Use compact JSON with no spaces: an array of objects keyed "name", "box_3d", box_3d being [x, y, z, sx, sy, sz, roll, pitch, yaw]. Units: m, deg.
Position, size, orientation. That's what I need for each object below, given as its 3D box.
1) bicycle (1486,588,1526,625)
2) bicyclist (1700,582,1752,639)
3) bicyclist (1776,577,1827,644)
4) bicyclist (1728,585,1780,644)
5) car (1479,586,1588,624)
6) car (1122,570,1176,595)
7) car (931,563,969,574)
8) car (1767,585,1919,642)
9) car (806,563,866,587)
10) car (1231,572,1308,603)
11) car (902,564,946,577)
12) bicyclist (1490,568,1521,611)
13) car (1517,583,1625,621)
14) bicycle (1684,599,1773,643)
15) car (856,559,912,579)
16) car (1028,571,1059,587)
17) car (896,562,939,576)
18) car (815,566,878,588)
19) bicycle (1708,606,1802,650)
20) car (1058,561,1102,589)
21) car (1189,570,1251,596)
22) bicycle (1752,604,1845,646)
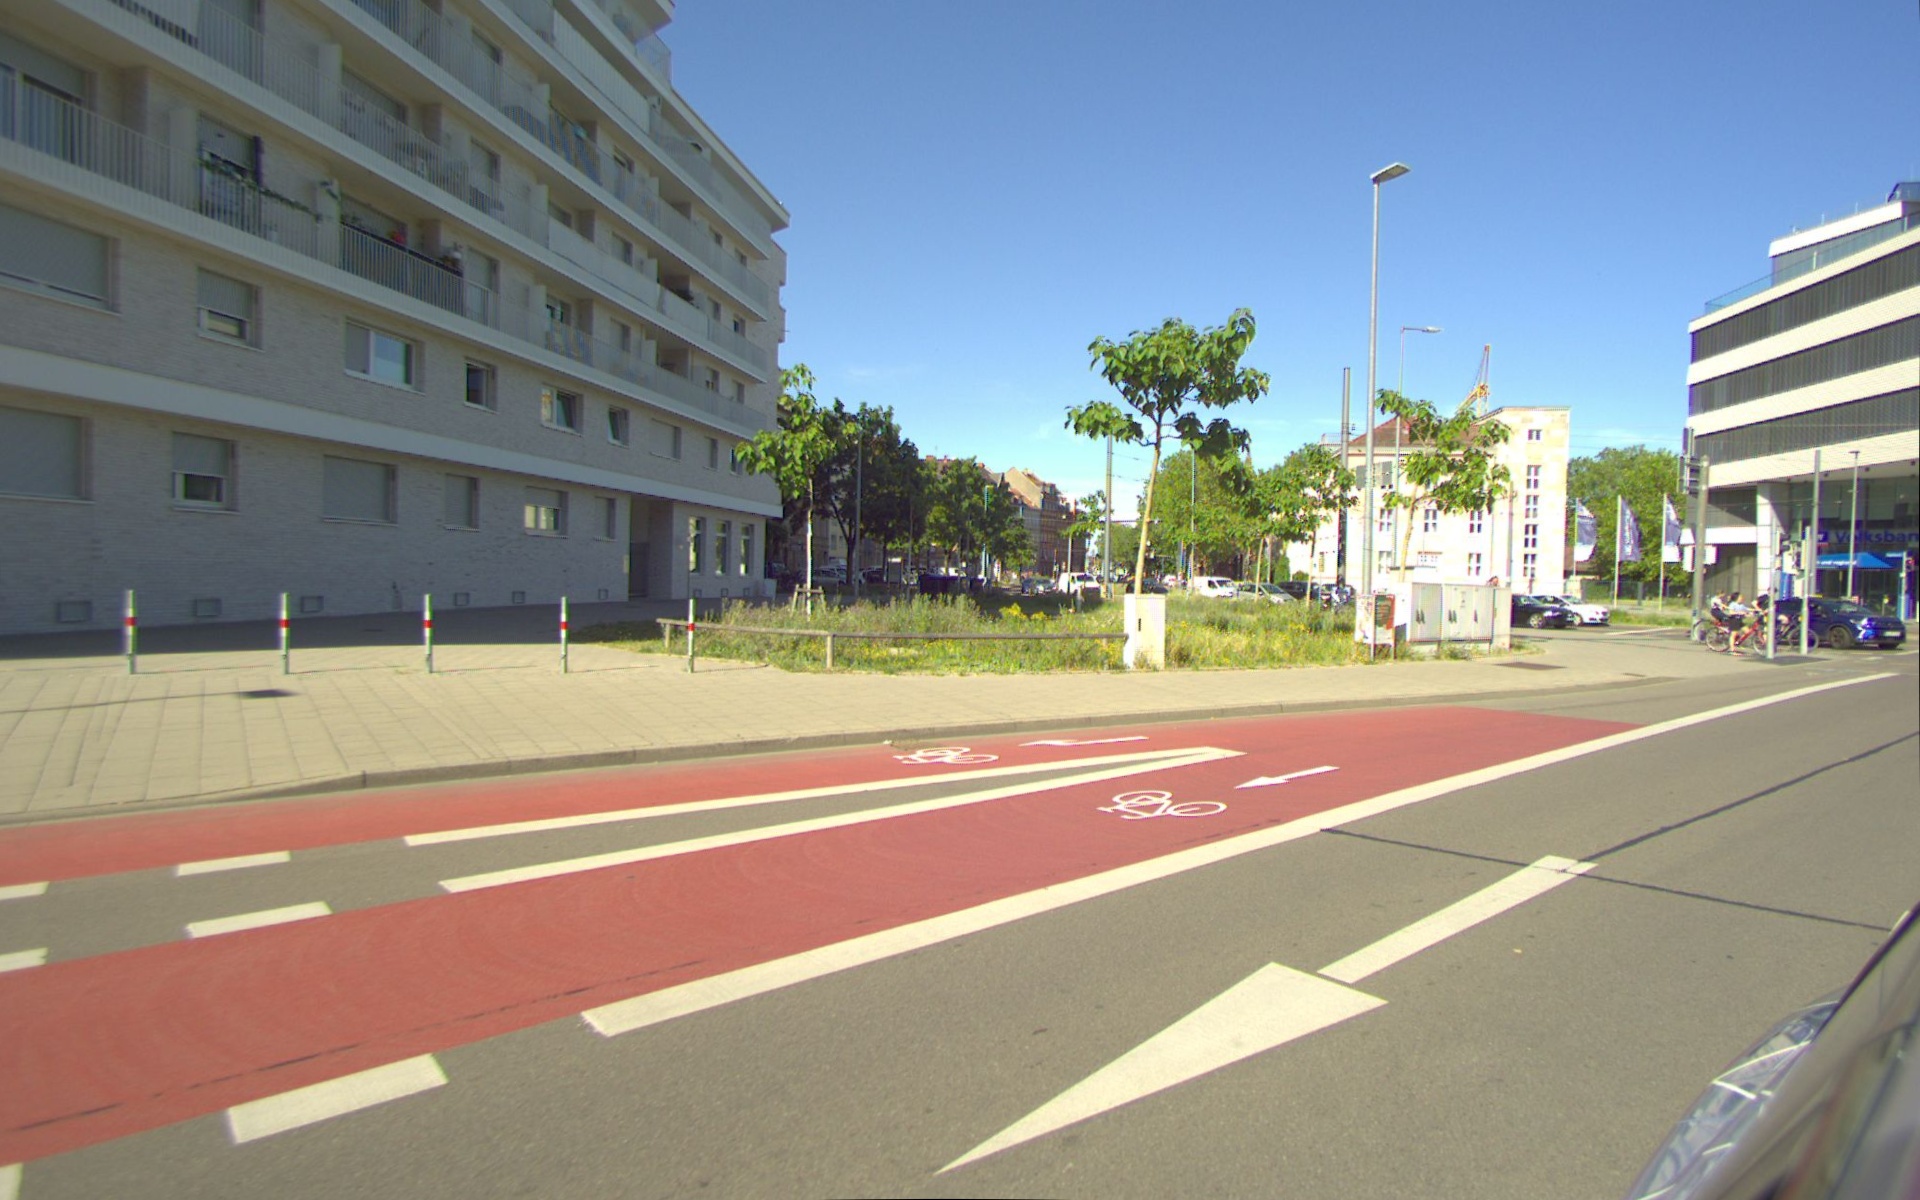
[{"name":"bicycle","box_3d":[18.347,0.197,34.065,0.687,1.118,2.002,4,2,16]},{"name":"bicyclist","box_3d":[23.692,0.308,31.300,0.583,1.674,1.006,2,3,-27]},{"name":"bicyclist","box_3d":[23.860,0.293,28.704,0.539,1.820,0.907,2,2,-34]},{"name":"bicyclist","box_3d":[20.265,0.364,25.841,0.578,1.421,0.829,2,2,-29]},{"name":"car","box_3d":[24.453,0.192,43.290,1.553,1.451,3.845,0,2,-26]},{"name":"car","box_3d":[12.564,-1.207,67.586,1.835,1.575,4.010,1,2,-18]},{"name":"car","box_3d":[-1.284,-4.008,128.115,4.310,1.225,2.004,0,2,-27]},{"name":"car","box_3d":[28.121,0.373,32.180,1.841,1.575,3.997,1,2,4]},{"name":"car","box_3d":[-9.058,-1.851,73.872,3.918,1.682,2.004,0,2,-27]},{"name":"car","box_3d":[17.294,-0.721,56.730,1.837,1.575,4.007,0,2,-28]},{"name":"car","box_3d":[-3.868,-3.183,108.094,4.308,1.249,2.005,1,2,-17]},{"name":"bicyclist","box_3d":[18.423,-0.361,34.193,0.687,1.394,0.734,4,2,16]},{"name":"car","box_3d":[27.365,0.046,45.449,1.636,1.448,3.842,-3,4,-28]},{"name":"bicycle","box_3d":[23.703,0.630,31.251,0.682,1.118,2.016,3,3,-26]},{"name":"car","box_3d":[-6.918,-2.832,92.192,4.696,1.793,1.735,0,2,-27]},{"name":"car","box_3d":[7.232,-1.803,87.685,1.837,1.286,4.661,1,2,-5]},{"name":"car","box_3d":[-4.645,-3.402,110.580,4.308,1.479,2.005,1,2,-17]},{"name":"car","box_3d":[-7.953,-1.616,71.095,3.918,1.482,2.004,0,2,-27]},{"name":"bicycle","box_3d":[20.266,0.709,25.834,0.682,0.966,1.710,2,2,-29]},{"name":"car","box_3d":[9.116,-1.931,77.210,1.836,2.006,4.665,1,2,-13]},{"name":"car","box_3d":[16.981,-1.137,66.211,1.836,1.575,4.009,1,2,-23]},{"name":"bicycle","box_3d":[23.810,0.689,28.759,0.594,1.050,1.897,2,2,-34]}]
